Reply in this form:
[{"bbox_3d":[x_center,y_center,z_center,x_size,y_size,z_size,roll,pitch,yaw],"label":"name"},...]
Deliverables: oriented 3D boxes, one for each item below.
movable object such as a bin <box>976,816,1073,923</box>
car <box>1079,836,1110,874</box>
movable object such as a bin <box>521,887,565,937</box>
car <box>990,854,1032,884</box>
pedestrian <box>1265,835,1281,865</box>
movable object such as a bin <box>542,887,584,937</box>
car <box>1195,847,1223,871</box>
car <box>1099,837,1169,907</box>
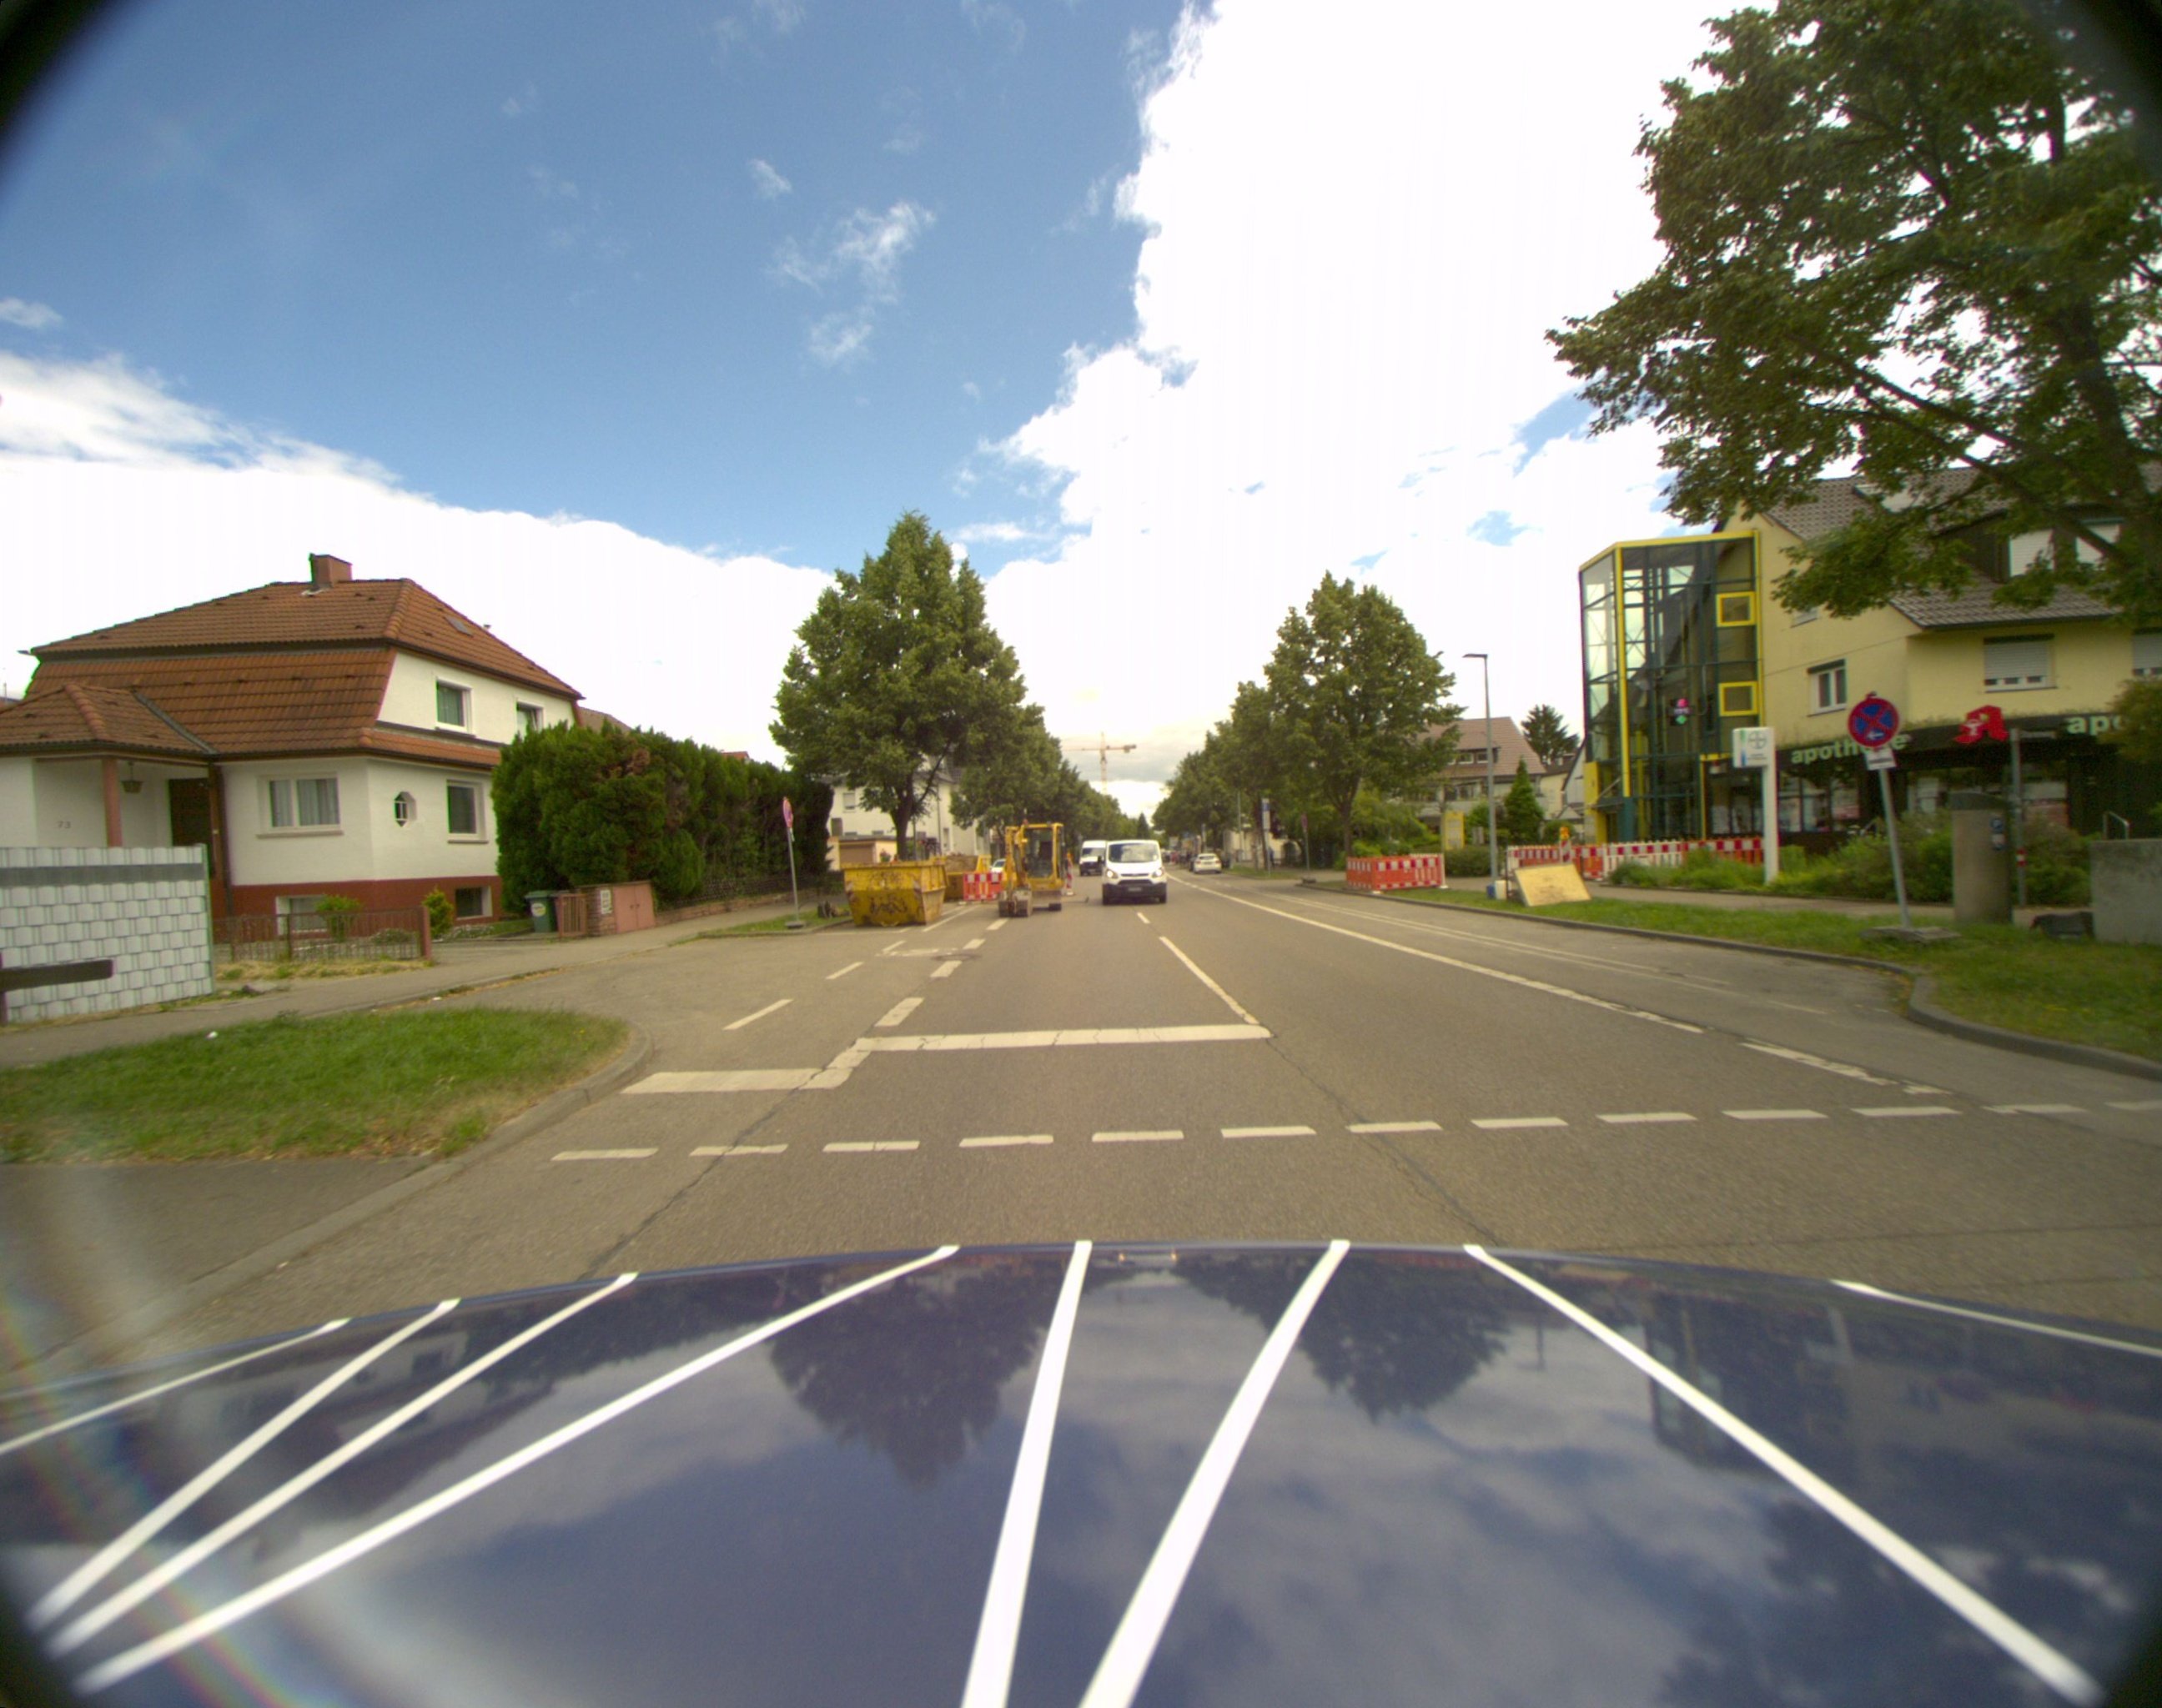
[{"bbox_3d":[-1.408,0.371,20.891,1.998,2.550,4.548,-2,0,3],"label":"movable object such as a bin"},{"bbox_3d":[1.063,0.086,56.016,1.998,2.584,4.001,-3,0,3],"label":"car"},{"bbox_3d":[-11.836,1.273,16.716,0.540,1.052,0.519,-2,1,12],"label":"movable object such as a bin"},{"bbox_3d":[-3.983,0.825,43.988,1.821,1.576,4.049,-2,0,3],"label":"car"},{"bbox_3d":[12.881,-0.260,51.008,0.826,2.002,0.998,-2,1,1],"label":"pedestrian"},{"bbox_3d":[-11.312,1.259,16.599,0.499,1.038,0.519,-2,1,12],"label":"movable object such as a bin"},{"bbox_3d":[9.018,0.328,53.698,1.890,1.565,4.002,-2,0,9],"label":"car"},{"bbox_3d":[1.784,0.513,24.920,1.998,2.002,5.320,-2,0,5],"label":"car"}]
